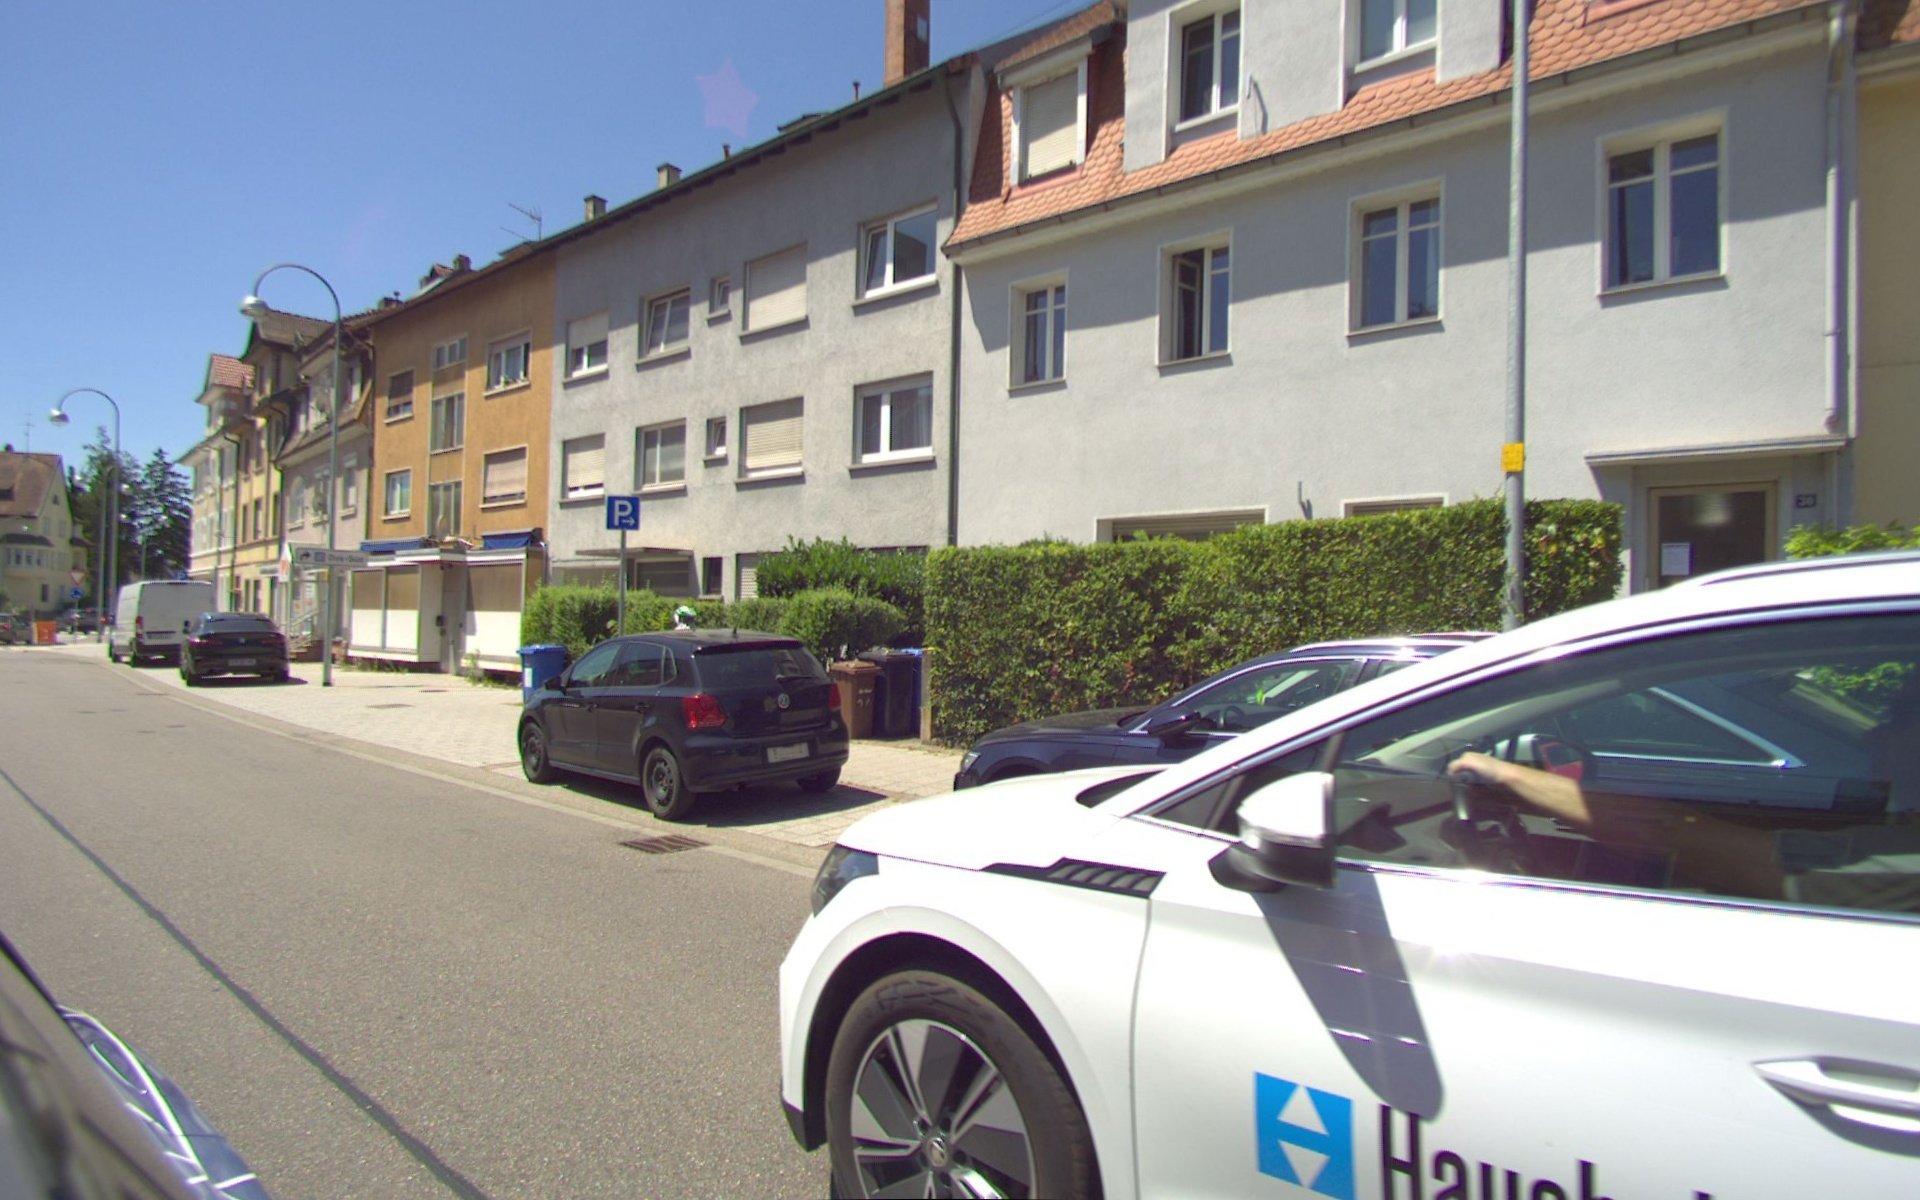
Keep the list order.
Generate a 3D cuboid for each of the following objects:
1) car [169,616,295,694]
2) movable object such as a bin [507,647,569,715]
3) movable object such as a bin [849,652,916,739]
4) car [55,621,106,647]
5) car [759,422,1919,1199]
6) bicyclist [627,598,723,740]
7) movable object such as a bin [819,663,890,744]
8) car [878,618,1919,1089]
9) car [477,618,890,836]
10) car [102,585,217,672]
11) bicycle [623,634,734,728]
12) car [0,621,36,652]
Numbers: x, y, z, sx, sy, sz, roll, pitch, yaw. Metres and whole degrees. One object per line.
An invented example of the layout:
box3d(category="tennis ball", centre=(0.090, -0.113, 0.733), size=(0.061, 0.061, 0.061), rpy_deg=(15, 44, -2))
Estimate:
box3d(category="car", centre=(-17.199, 1.216, 23.790), size=(2.059, 1.627, 5.117), rpy_deg=(1, -2, -39))
box3d(category="movable object such as a bin", centre=(-6.839, 1.305, 16.407), size=(0.652, 1.056, 0.666), rpy_deg=(-1, -4, 41))
box3d(category="movable object such as a bin", centre=(-0.973, 1.177, 12.624), size=(0.705, 1.038, 0.462), rpy_deg=(-1, -3, 41))
box3d(category="car", centre=(-56.474, 2.134, 64.952), size=(4.387, 1.500, 1.777), rpy_deg=(1, 0, 40))
box3d(category="car", centre=(1.822, 0.660, 1.595), size=(4.356, 1.609, 1.858), rpy_deg=(-1, -4, 40))
box3d(category="bicyclist", centre=(-3.528, 0.836, 12.553), size=(0.834, 1.672, 0.774), rpy_deg=(-1, -3, 40))
box3d(category="movable object such as a bin", centre=(-1.278, 1.239, 12.270), size=(0.705, 0.919, 0.489), rpy_deg=(-1, -3, 41))
box3d(category="car", centre=(2.089, 0.865, 5.284), size=(5.304, 1.473, 1.844), rpy_deg=(-2, -1, 41))
box3d(category="car", centre=(-2.689, 0.948, 9.200), size=(1.767, 1.470, 4.200), rpy_deg=(-1, 0, -45))
box3d(category="car", centre=(-25.116, 0.850, 31.666), size=(6.120, 2.468, 2.095), rpy_deg=(-1, -1, 45))
box3d(category="bicycle", centre=(-3.517, 0.982, 12.604), size=(1.512, 1.092, 0.551), rpy_deg=(-1, -3, 40))
box3d(category="car", centre=(-44.995, 1.697, 47.214), size=(1.707, 1.422, 4.013), rpy_deg=(3, -4, -27))
